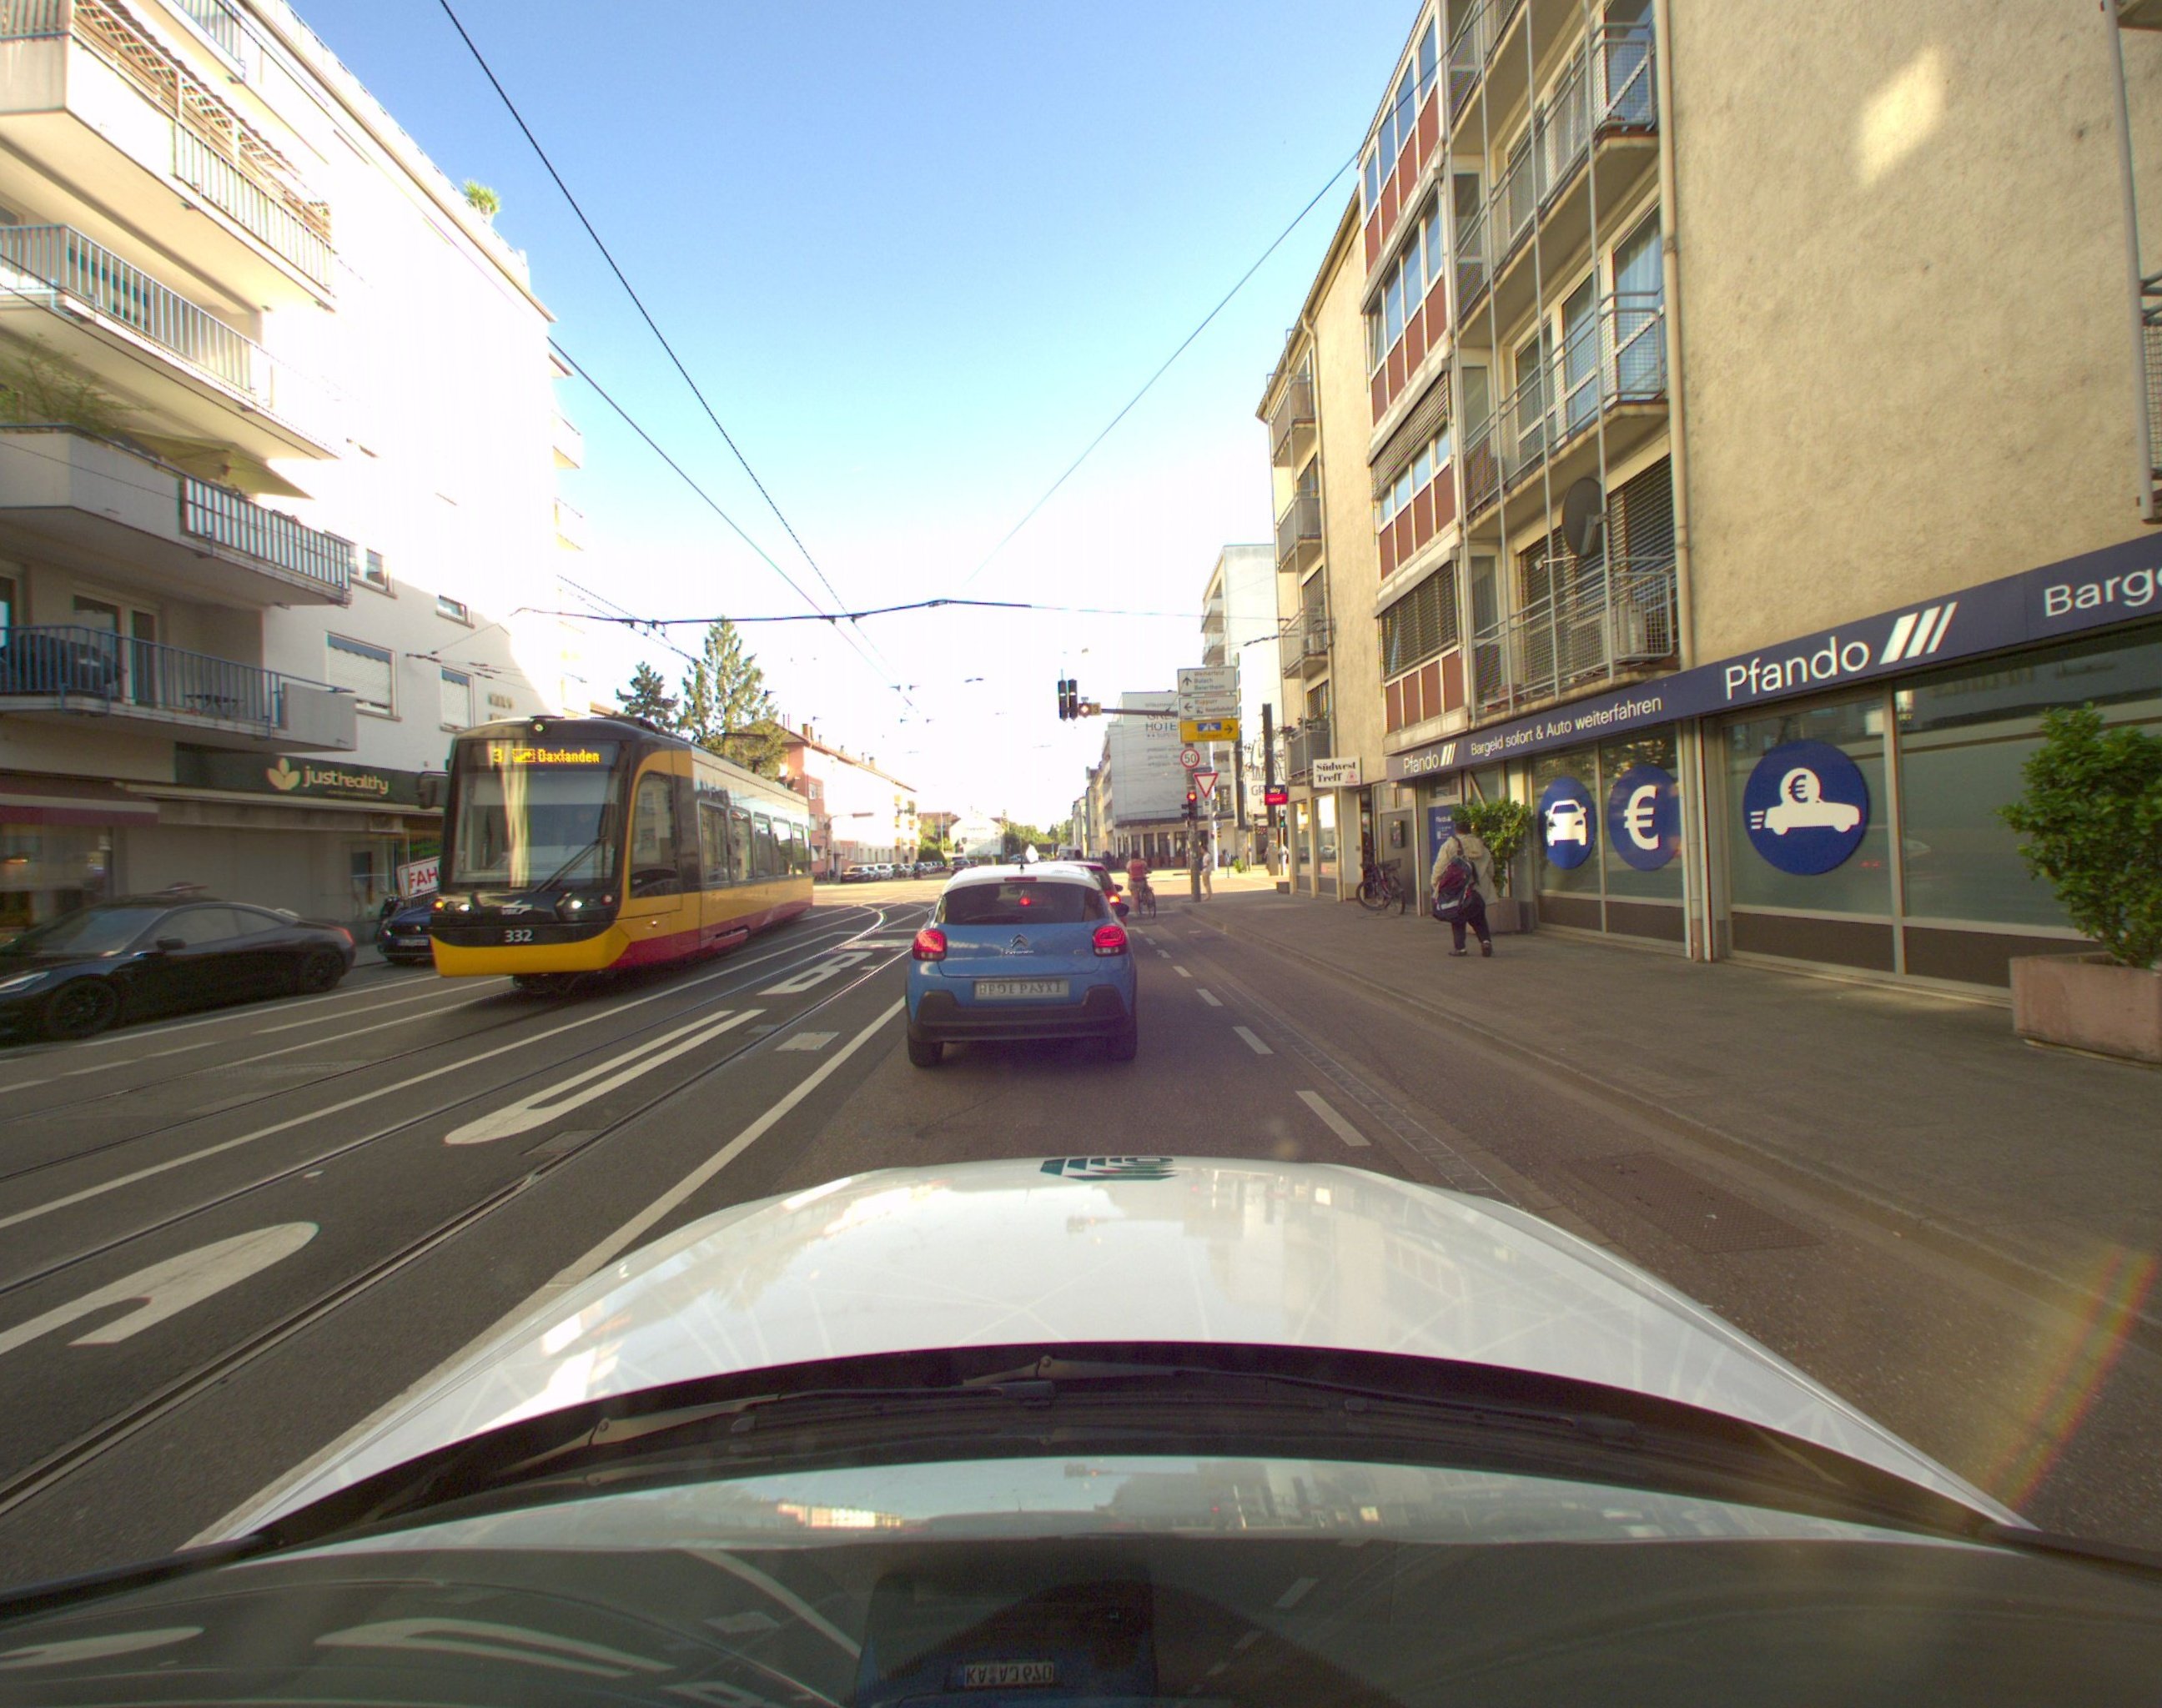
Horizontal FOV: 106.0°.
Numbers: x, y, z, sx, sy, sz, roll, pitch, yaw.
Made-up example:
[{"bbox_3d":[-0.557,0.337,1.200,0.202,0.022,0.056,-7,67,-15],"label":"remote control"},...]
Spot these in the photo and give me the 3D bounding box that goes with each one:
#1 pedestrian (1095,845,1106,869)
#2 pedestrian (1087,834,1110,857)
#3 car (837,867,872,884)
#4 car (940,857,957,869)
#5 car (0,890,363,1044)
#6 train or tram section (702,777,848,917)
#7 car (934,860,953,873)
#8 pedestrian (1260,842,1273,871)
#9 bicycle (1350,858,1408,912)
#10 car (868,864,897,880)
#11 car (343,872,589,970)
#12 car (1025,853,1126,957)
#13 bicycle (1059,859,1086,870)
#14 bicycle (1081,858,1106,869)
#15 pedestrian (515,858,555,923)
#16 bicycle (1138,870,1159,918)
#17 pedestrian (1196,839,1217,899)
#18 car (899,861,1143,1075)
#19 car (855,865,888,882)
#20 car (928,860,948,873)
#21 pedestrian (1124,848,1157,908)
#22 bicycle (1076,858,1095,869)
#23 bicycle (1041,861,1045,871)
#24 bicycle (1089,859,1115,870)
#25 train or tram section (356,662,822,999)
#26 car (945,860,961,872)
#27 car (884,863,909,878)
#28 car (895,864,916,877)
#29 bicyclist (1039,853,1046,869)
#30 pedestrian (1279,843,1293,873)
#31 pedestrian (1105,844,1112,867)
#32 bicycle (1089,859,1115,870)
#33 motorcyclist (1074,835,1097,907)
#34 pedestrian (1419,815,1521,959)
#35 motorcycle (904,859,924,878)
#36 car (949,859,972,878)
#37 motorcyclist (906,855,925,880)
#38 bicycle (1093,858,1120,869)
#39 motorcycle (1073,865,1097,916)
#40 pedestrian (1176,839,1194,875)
[{"bbox_3d":[1.647,0.285,69.317,0.635,2.014,0.717,0,-1,-34],"label":"pedestrian"},{"bbox_3d":[1.629,-0.730,73.682,1.986,2.014,4.001,0,-1,2],"label":"pedestrian"},{"bbox_3d":[-19.233,1.810,69.436,1.787,1.421,3.996,0,0,1],"label":"car"},{"bbox_3d":[-19.026,1.345,117.283,1.828,1.687,3.998,0,-1,-1],"label":"car"},{"bbox_3d":[-12.059,1.293,10.435,1.816,1.387,4.425,-2,0,-2],"label":"car"},{"bbox_3d":[-9.291,-0.152,25.848,2.826,3.631,9.050,0,0,-11],"label":"train or tram section"},{"bbox_3d":[-18.869,1.675,111.906,1.877,1.687,3.998,0,-1,-1],"label":"car"},{"bbox_3d":[10.547,0.135,46.294,0.730,1.601,0.751,-1,-1,15],"label":"pedestrian"},{"bbox_3d":[5.747,0.579,15.802,0.540,0.998,1.706,0,-1,2],"label":"bicycle"},{"bbox_3d":[-19.493,1.740,80.001,1.781,1.511,4.150,0,0,1],"label":"car"},{"bbox_3d":[-11.988,1.210,16.286,1.864,1.531,4.068,-2,0,-2],"label":"car"},{"bbox_3d":[-0.033,0.762,13.362,1.419,1.467,2.925,-2,-1,2],"label":"car"},{"bbox_3d":[-0.712,0.875,66.395,2.130,0.901,0.366,0,-1,-7],"label":"bicycle"},{"bbox_3d":[1.052,0.818,68.444,2.130,0.901,0.366,0,-1,-7],"label":"bicycle"},{"bbox_3d":[-17.151,1.122,25.599,0.767,2.014,0.694,0,-1,-4],"label":"pedestrian"},{"bbox_3d":[1.695,0.976,20.614,0.426,1.123,1.999,0,-1,2],"label":"bicycle"},{"bbox_3d":[3.750,0.441,24.349,0.515,1.783,0.595,0,-1,0],"label":"pedestrian"},{"bbox_3d":[-0.353,0.787,7.282,1.648,1.444,3.524,0,-1,2],"label":"car"},{"bbox_3d":[-19.199,1.784,74.912,1.808,1.498,4.302,0,0,2],"label":"car"},{"bbox_3d":[-18.758,1.668,106.777,1.978,1.687,3.998,0,-1,-1],"label":"car"},{"bbox_3d":[1.485,0.590,20.346,0.774,1.460,0.682,0,-1,1],"label":"pedestrian"},{"bbox_3d":[0.360,0.819,69.571,1.765,0.901,0.369,-1,-1,36],"label":"bicycle"},{"bbox_3d":[-3.382,1.040,72.023,0.348,0.903,1.856,0,-1,-4],"label":"bicycle"},{"bbox_3d":[1.711,0.883,67.691,2.130,0.901,0.366,0,-1,-7],"label":"bicycle"},{"bbox_3d":[-7.299,-0.230,15.147,3.063,3.594,12.583,-2,0,-11],"label":"train or tram section"},{"bbox_3d":[-19.157,1.757,121.980,1.841,1.687,3.872,0,-1,-1],"label":"car"},{"bbox_3d":[-19.580,1.767,86.664,1.781,1.498,3.998,0,-1,-1],"label":"car"},{"bbox_3d":[-19.962,1.844,92.722,1.728,1.498,3.996,0,-1,-2],"label":"car"},{"bbox_3d":[-3.405,0.628,72.146,0.560,1.477,0.746,0,-1,-7],"label":"bicyclist"},{"bbox_3d":[11.577,0.232,46.101,0.747,1.657,0.886,-1,-1,13],"label":"pedestrian"},{"bbox_3d":[2.398,0.142,70.351,0.575,2.014,0.625,0,-1,-1],"label":"pedestrian"},{"bbox_3d":[1.764,0.863,67.233,2.130,0.901,0.366,0,-1,-7],"label":"bicycle"},{"bbox_3d":[0.120,0.403,19.741,0.524,1.716,0.717,0,-1,1],"label":"motorcyclist"},{"bbox_3d":[4.487,0.371,9.453,0.822,1.593,0.751,0,-1,1],"label":"pedestrian"},{"bbox_3d":[-13.771,1.165,67.127,0.921,1.486,3.724,0,-1,-1],"label":"motorcycle"},{"bbox_3d":[-11.350,1.338,76.869,1.770,1.666,3.854,0,-1,-2],"label":"car"},{"bbox_3d":[-13.730,1.134,67.563,1.182,2.013,1.275,-2,0,-1],"label":"motorcyclist"},{"bbox_3d":[2.071,0.766,66.031,2.130,0.901,0.366,0,-1,-7],"label":"bicycle"},{"bbox_3d":[0.114,0.837,19.550,0.524,1.139,2.290,0,-1,2],"label":"motorcycle"},{"bbox_3d":[6.008,0.172,46.963,0.922,2.014,0.760,0,-1,1],"label":"pedestrian"}]
